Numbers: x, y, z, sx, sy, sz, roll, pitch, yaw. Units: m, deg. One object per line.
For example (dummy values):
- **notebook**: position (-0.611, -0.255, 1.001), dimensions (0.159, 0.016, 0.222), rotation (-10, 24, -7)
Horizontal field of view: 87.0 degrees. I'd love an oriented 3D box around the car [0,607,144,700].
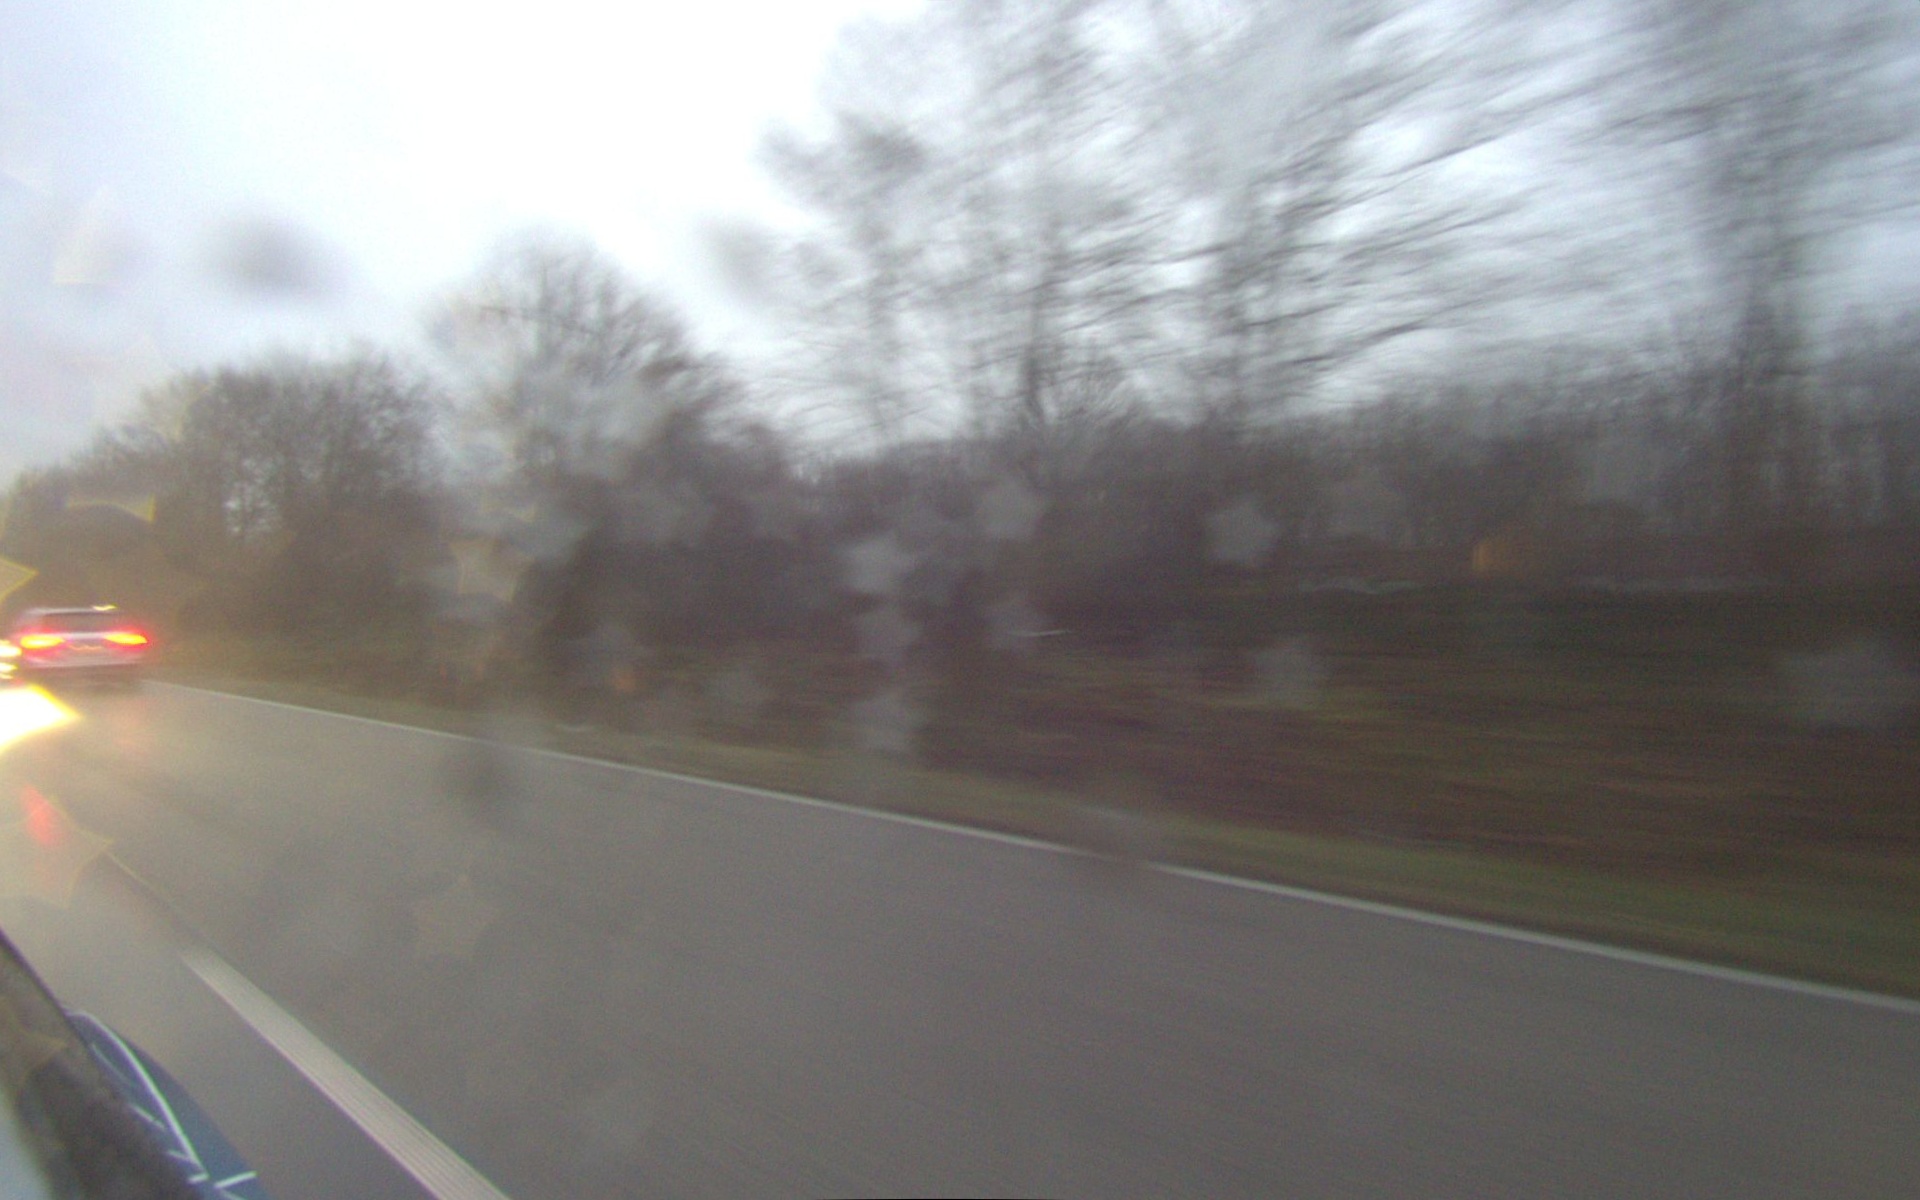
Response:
- **car**: position (-17.651, 0.989, 19.843), dimensions (4.193, 1.619, 1.853), rotation (-1, -1, 41)
